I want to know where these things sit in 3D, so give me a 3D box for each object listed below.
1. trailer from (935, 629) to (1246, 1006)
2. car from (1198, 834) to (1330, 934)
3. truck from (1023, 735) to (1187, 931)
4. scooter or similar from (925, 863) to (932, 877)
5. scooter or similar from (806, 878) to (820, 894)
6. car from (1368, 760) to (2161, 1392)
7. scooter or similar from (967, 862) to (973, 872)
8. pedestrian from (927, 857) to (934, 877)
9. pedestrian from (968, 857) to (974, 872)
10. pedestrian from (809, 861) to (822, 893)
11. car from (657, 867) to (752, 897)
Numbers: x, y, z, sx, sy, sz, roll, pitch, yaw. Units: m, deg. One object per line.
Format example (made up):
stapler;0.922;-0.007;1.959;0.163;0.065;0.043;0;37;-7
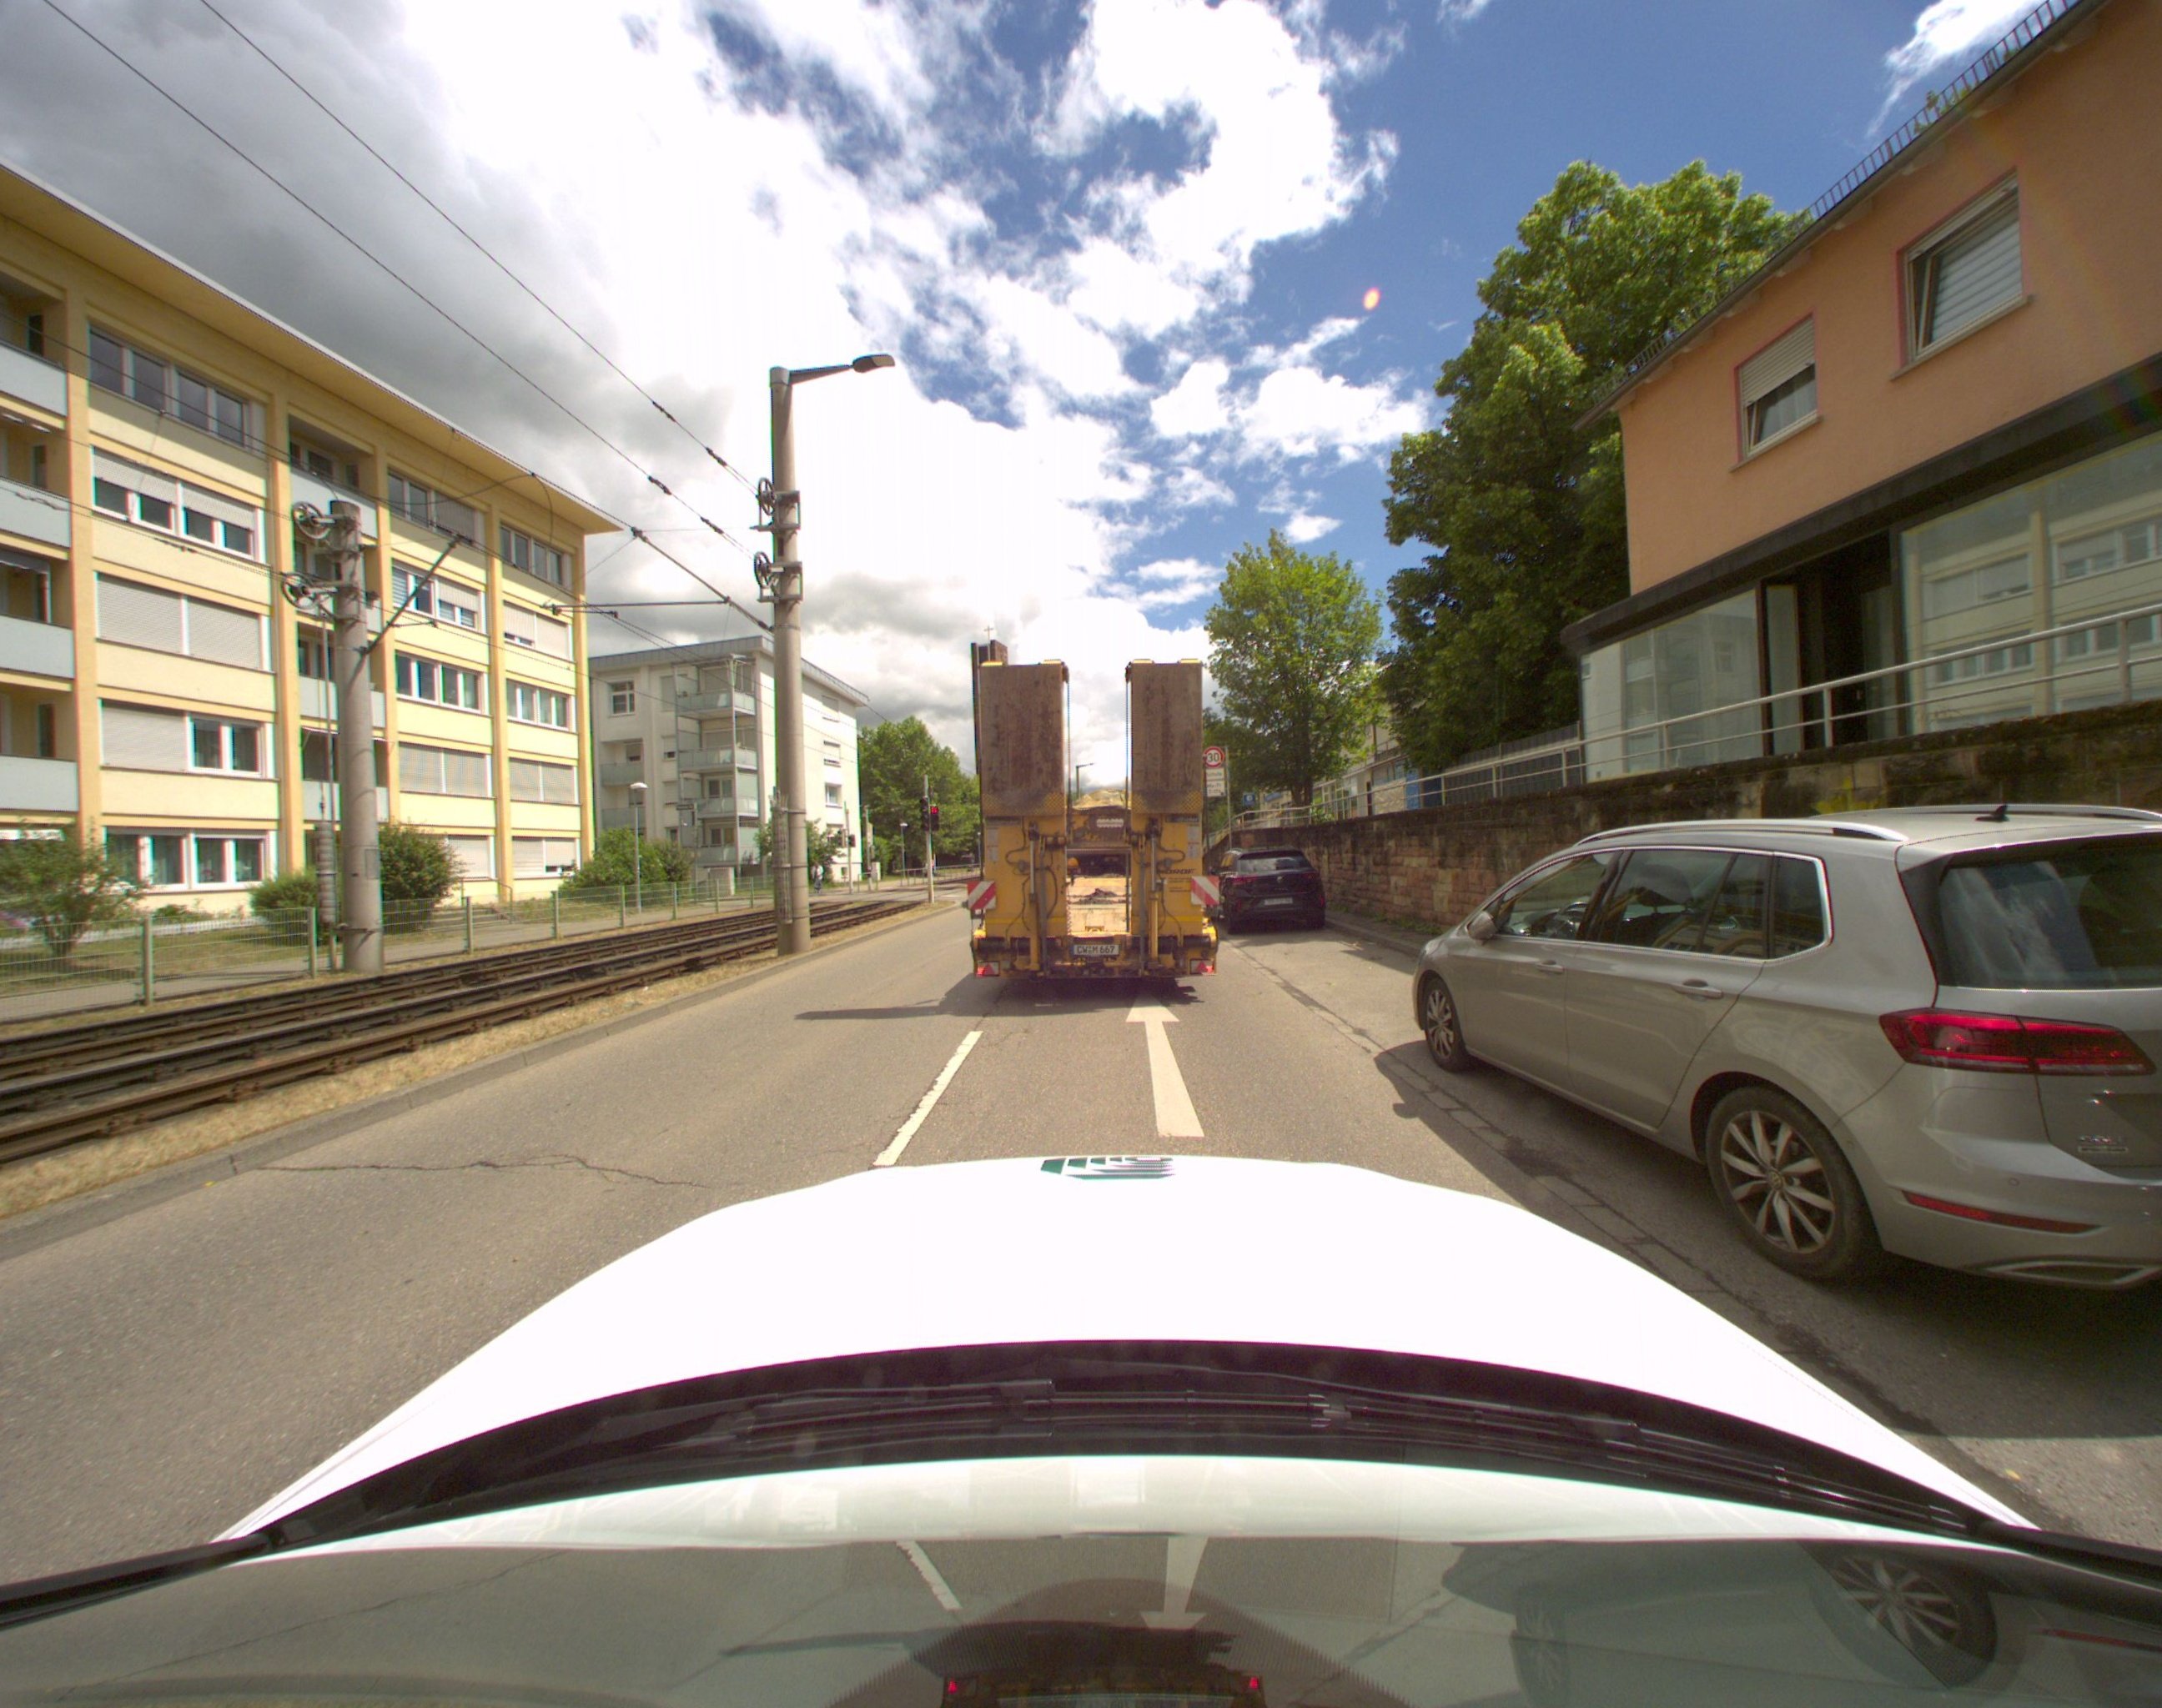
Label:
trailer;0.307;-0.377;12.381;2.933;3.601;8.690;-2;0;3
car;3.476;0.542;16.210;1.843;1.639;4.003;-3;-1;3
truck;0.564;-0.398;17.759;2.931;3.572;4.880;-2;0;2
scooter or similar;-11.890;1.240;63.641;0.336;1.057;0.689;-2;0;6
scooter or similar;-13.231;1.576;40.206;0.435;0.747;0.475;-2;0;7
car;3.145;0.562;4.257;1.783;1.618;4.249;-3;0;1
scooter or similar;-10.950;1.301;80.056;0.504;0.971;0.646;0;-1;1
pedestrian;-11.843;1.034;64.278;0.346;1.537;0.558;-2;0;6
pedestrian;-10.913;1.030;80.710;0.562;1.514;0.646;0;-1;1
pedestrian;-13.250;1.140;40.649;0.435;1.580;0.475;-2;0;7
car;-19.189;1.429;41.540;3.962;1.346;1.906;-2;-1;10
